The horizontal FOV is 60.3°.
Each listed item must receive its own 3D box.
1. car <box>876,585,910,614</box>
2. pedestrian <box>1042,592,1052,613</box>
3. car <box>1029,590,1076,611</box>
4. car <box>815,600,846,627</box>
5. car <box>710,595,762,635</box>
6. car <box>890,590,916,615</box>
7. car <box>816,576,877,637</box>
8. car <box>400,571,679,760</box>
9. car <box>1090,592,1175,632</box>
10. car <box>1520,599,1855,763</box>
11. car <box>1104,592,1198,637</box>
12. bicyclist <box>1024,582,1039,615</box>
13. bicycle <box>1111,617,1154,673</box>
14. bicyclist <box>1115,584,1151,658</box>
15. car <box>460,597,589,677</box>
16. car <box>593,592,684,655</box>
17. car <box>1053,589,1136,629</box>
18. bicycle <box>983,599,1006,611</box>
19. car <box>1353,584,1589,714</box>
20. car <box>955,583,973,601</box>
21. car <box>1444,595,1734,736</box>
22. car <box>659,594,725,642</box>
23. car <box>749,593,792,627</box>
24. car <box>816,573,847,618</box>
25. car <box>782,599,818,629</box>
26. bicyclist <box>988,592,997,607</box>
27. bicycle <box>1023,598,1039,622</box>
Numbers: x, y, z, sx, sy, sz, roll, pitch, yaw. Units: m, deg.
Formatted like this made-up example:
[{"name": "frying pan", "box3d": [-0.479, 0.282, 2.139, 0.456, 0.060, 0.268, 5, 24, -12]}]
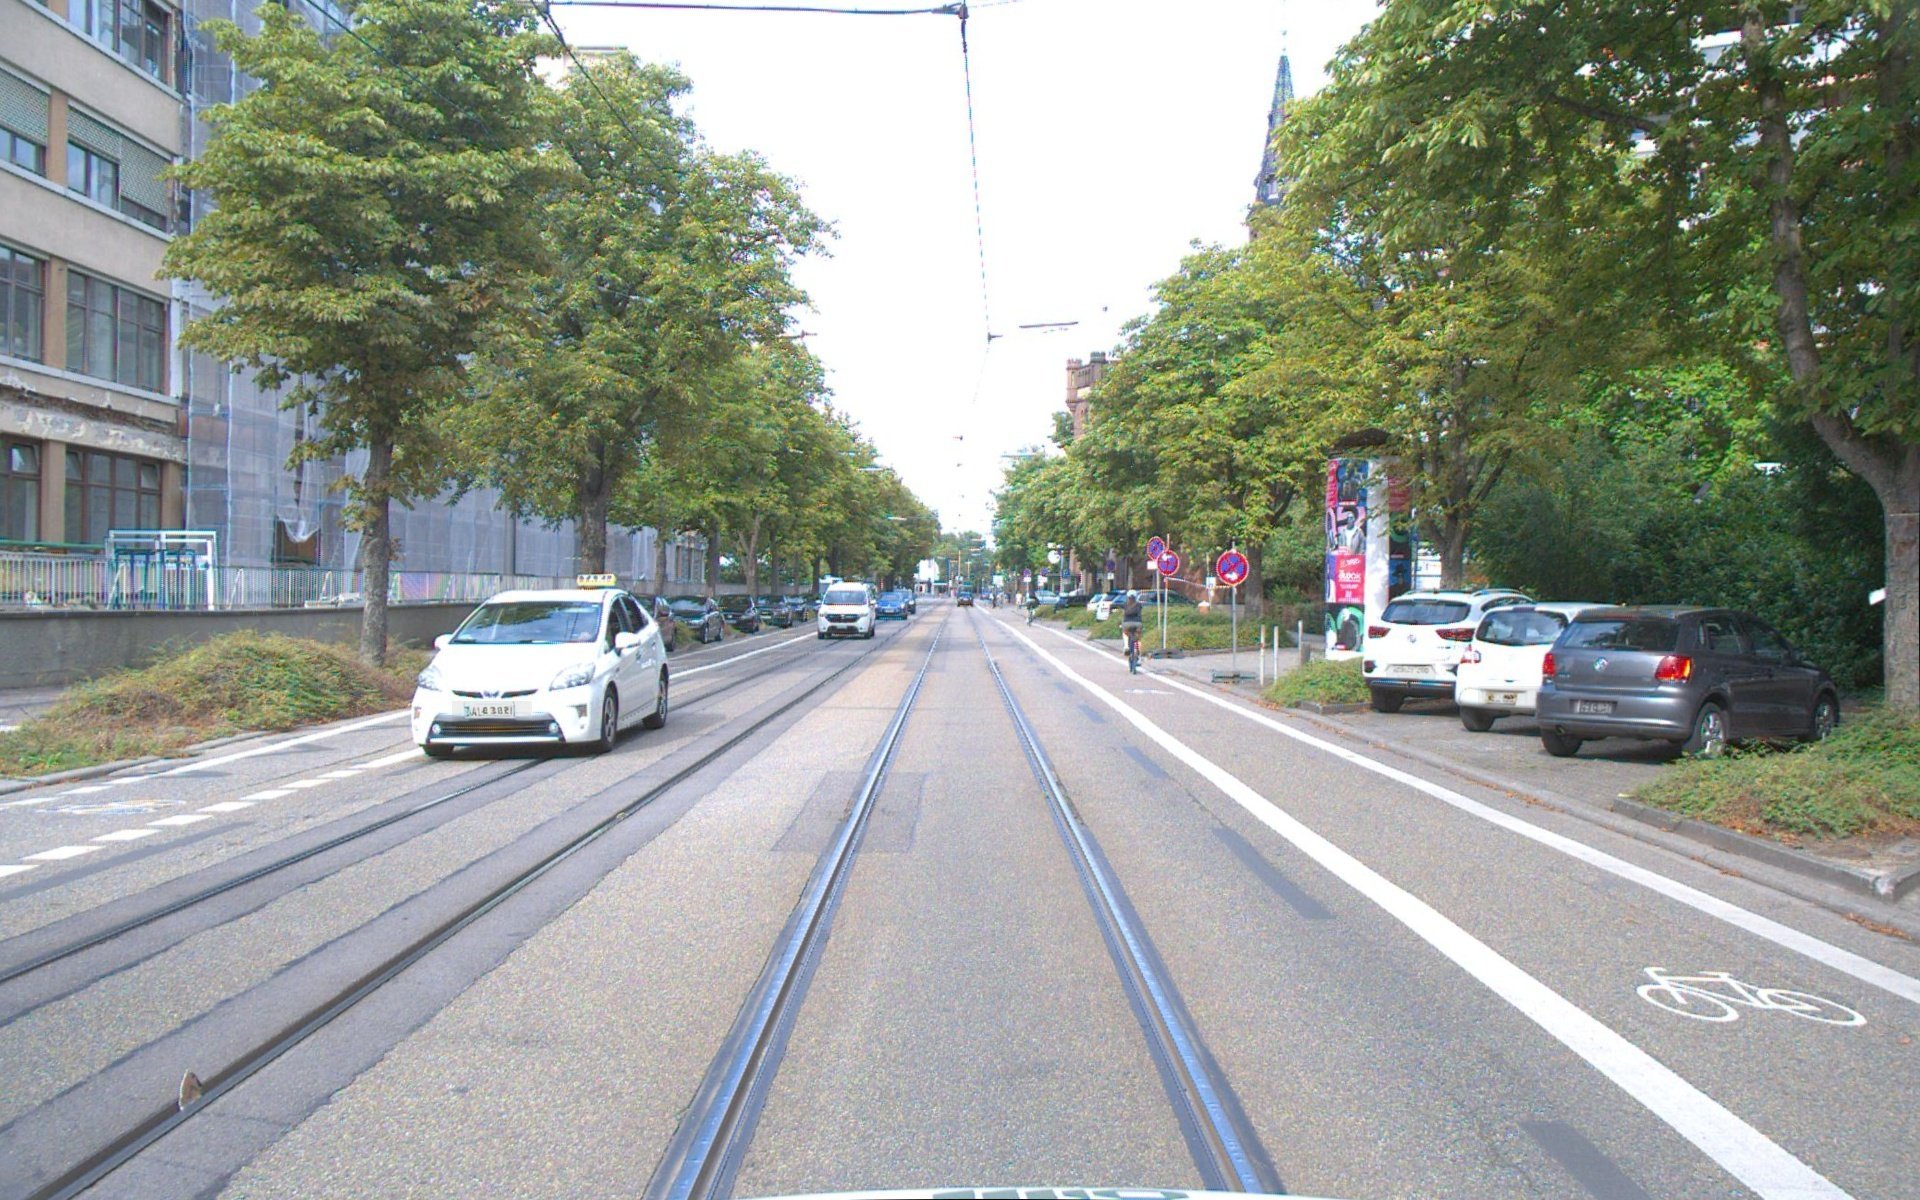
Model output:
[{"name": "car", "box3d": [-3.598, -0.064, 89.761, 1.697, 1.522, 4.378, 0, 1, 0]}, {"name": "pedestrian", "box3d": [7.635, 0.255, 144.679, 0.732, 1.821, 0.731, 1, -1, 15]}, {"name": "car", "box3d": [8.079, 0.046, 144.865, 3.910, 1.722, 1.998, 1, 0, -6]}, {"name": "car", "box3d": [-7.278, 0.739, 93.010, 1.558, 1.427, 3.961, 1, 0, -2]}, {"name": "car", "box3d": [-8.408, 0.542, 62.283, 1.558, 1.427, 3.961, 1, 0, -2]}, {"name": "car", "box3d": [-3.911, 0.137, 114.531, 1.697, 1.657, 4.377, -1, 0, -1]}, {"name": "car", "box3d": [-3.667, 0.189, 54.156, 1.697, 1.917, 4.378, 1, 0, -1]}, {"name": "car", "box3d": [-4.016, 0.555, 16.530, 1.697, 1.640, 4.334, 0, 0, 0]}, {"name": "car", "box3d": [7.152, 0.505, 68.484, 1.654, 1.630, 3.621, 0, 0, 44]}, {"name": "car", "box3d": [7.308, 0.741, 16.501, 3.612, 1.444, 1.658, 1, 0, -40]}, {"name": "car", "box3d": [7.153, 0.529, 61.686, 1.654, 1.630, 3.621, 0, 0, 44]}, {"name": "bicyclist", "box3d": [3.296, -0.085, 76.407, 0.645, 1.522, 0.929, 1, 0, 0]}, {"name": "bicycle", "box3d": [3.519, 0.902, 33.795, 0.581, 1.062, 1.977, 1, 0, -2]}, {"name": "bicyclist", "box3d": [3.530, 0.413, 33.803, 0.581, 1.485, 0.875, 1, 0, -2]}, {"name": "car", "box3d": [-8.377, 0.675, 32.111, 1.558, 1.427, 3.961, 1, 0, -2]}, {"name": "car", "box3d": [-8.261, 0.565, 42.772, 1.602, 1.522, 3.962, 1, 0, -1]}, {"name": "car", "box3d": [5.765, 0.393, 70.611, 1.654, 1.630, 3.621, 0, 0, 44]}, {"name": "bicycle", "box3d": [3.529, 0.476, 167.306, 2.226, 1.210, 0.769, 1, 0, 7]}, {"name": "car", "box3d": [7.051, 0.633, 22.641, 1.654, 1.630, 3.621, 0, 0, 44]}, {"name": "car", "box3d": [0.407, -0.875, 175.287, 1.758, 1.855, 4.677, 1, 0, -1]}, {"name": "car", "box3d": [7.438, 0.717, 19.430, 3.612, 1.500, 1.658, 1, 0, -40]}, {"name": "car", "box3d": [-8.377, 0.537, 51.971, 1.558, 1.427, 3.961, 1, 0, -2]}, {"name": "car", "box3d": [-8.290, 0.437, 72.583, 1.558, 1.427, 3.961, 1, 0, -2]}, {"name": "car", "box3d": [-8.230, -0.284, 106.357, 1.686, 2.751, 5.468, 1, 0, -2]}, {"name": "car", "box3d": [-7.984, 0.682, 82.806, 1.558, 1.427, 3.961, 1, 0, -2]}, {"name": "bicyclist", "box3d": [3.278, -0.063, 167.337, 0.828, 1.531, 0.769, 1, 0, 7]}, {"name": "bicycle", "box3d": [3.284, 0.447, 76.402, 0.650, 1.062, 1.841, 1, 0, 0]}]
